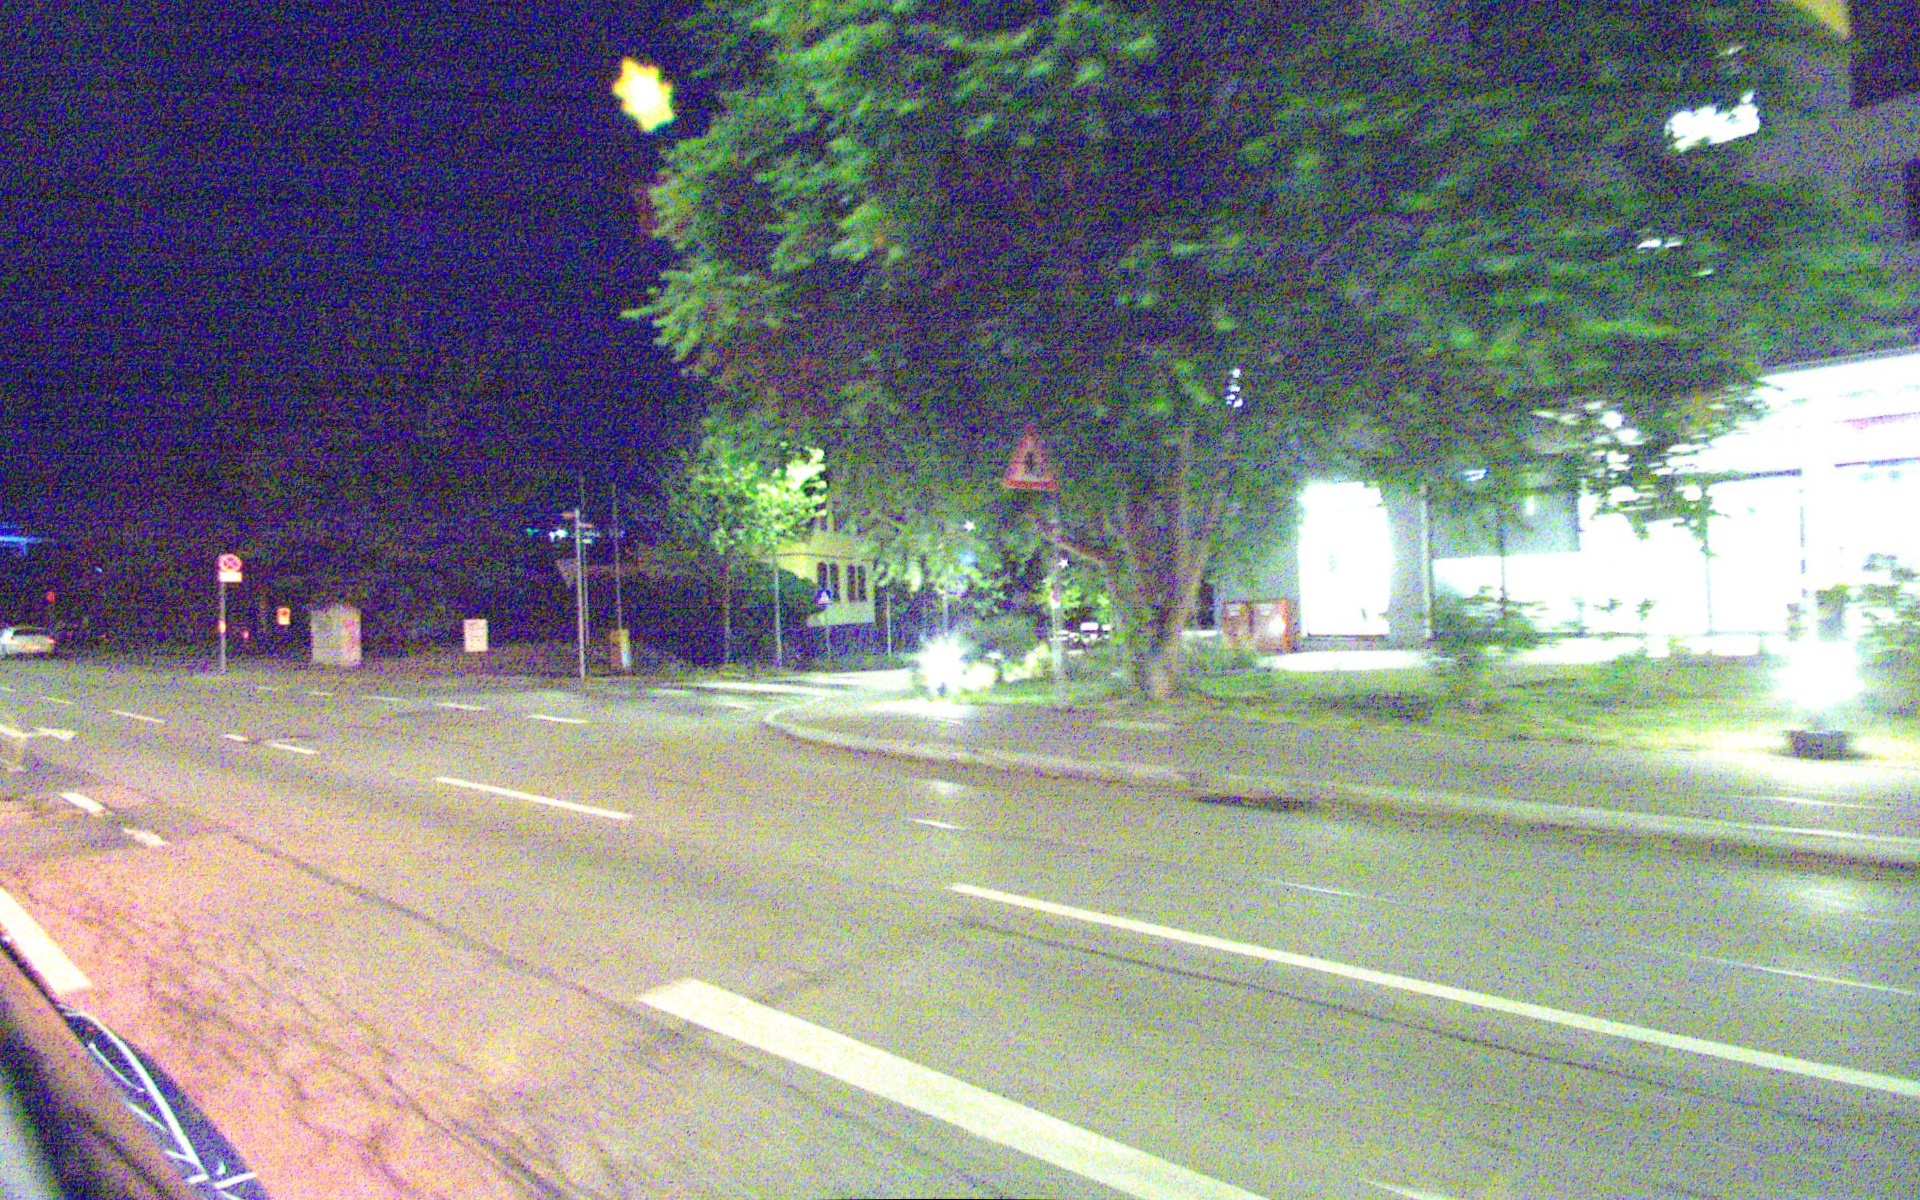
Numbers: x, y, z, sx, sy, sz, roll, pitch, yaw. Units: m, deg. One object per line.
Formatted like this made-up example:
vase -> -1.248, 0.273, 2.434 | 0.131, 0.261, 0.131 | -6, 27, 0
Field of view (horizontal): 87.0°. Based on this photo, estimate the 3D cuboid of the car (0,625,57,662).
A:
car -> -41.491, 1.886, 44.752 | 3.999, 1.464, 1.886 | 0, 1, 42
